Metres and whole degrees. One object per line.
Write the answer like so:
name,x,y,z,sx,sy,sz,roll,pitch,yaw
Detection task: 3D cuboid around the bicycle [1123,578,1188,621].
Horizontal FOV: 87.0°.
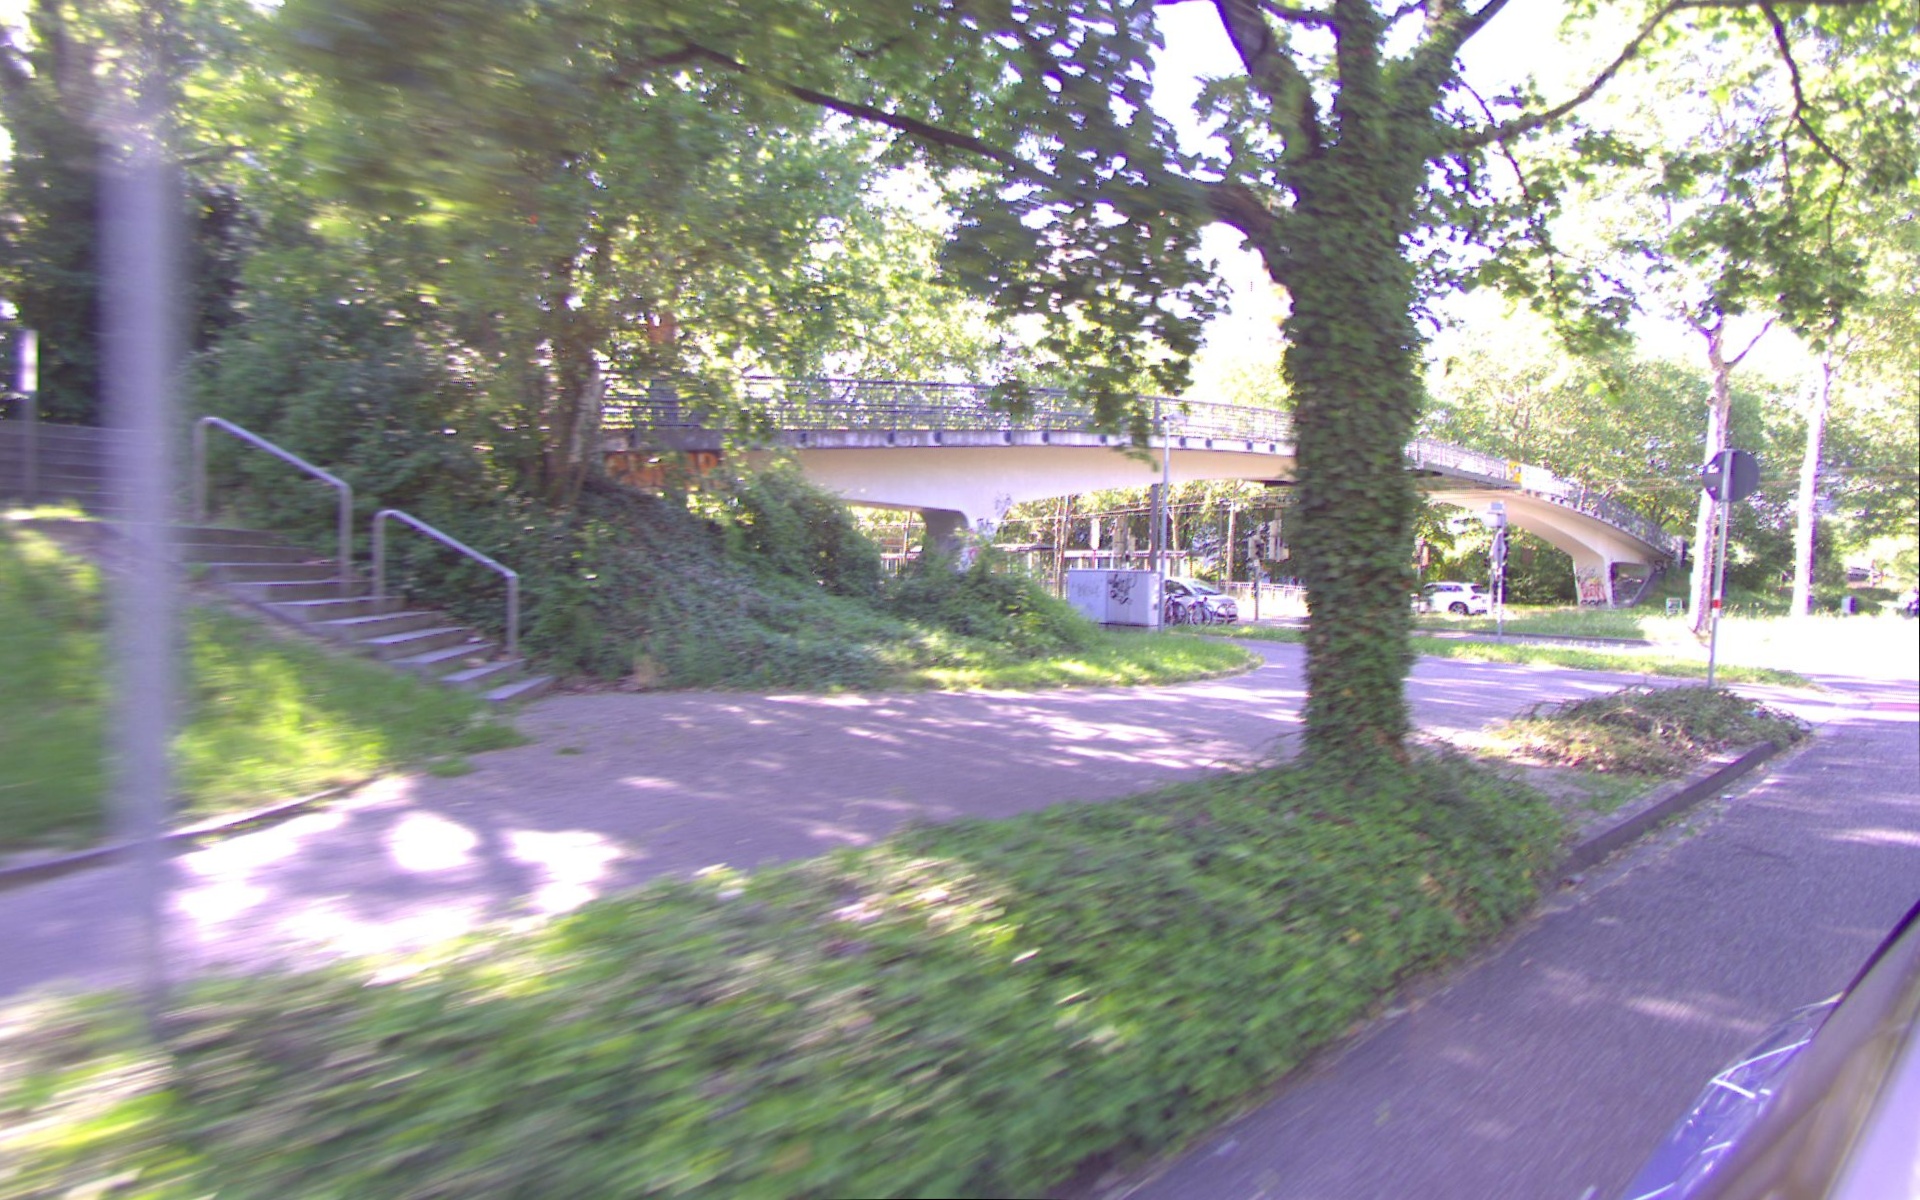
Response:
bicycle,5.201,-0.026,27.032,1.714,1.117,0.415,0,0,38

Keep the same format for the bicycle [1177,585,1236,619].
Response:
bicycle,6.973,0.041,28.677,0.451,0.924,1.717,0,0,-39

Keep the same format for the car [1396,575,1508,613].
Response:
car,22.507,-0.289,46.448,1.688,1.667,4.331,0,1,-38

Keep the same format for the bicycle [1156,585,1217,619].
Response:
bicycle,6.293,0.036,28.207,0.504,0.924,1.717,0,1,-39

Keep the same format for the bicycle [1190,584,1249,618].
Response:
bicycle,7.434,0.019,29.069,0.451,0.924,1.717,0,0,-39

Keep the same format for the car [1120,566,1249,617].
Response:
car,7.801,-0.299,35.515,1.688,1.667,4.331,0,1,-38

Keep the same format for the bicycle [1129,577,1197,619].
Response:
bicycle,5.515,-0.057,27.539,0.488,1.117,1.863,0,0,-44
